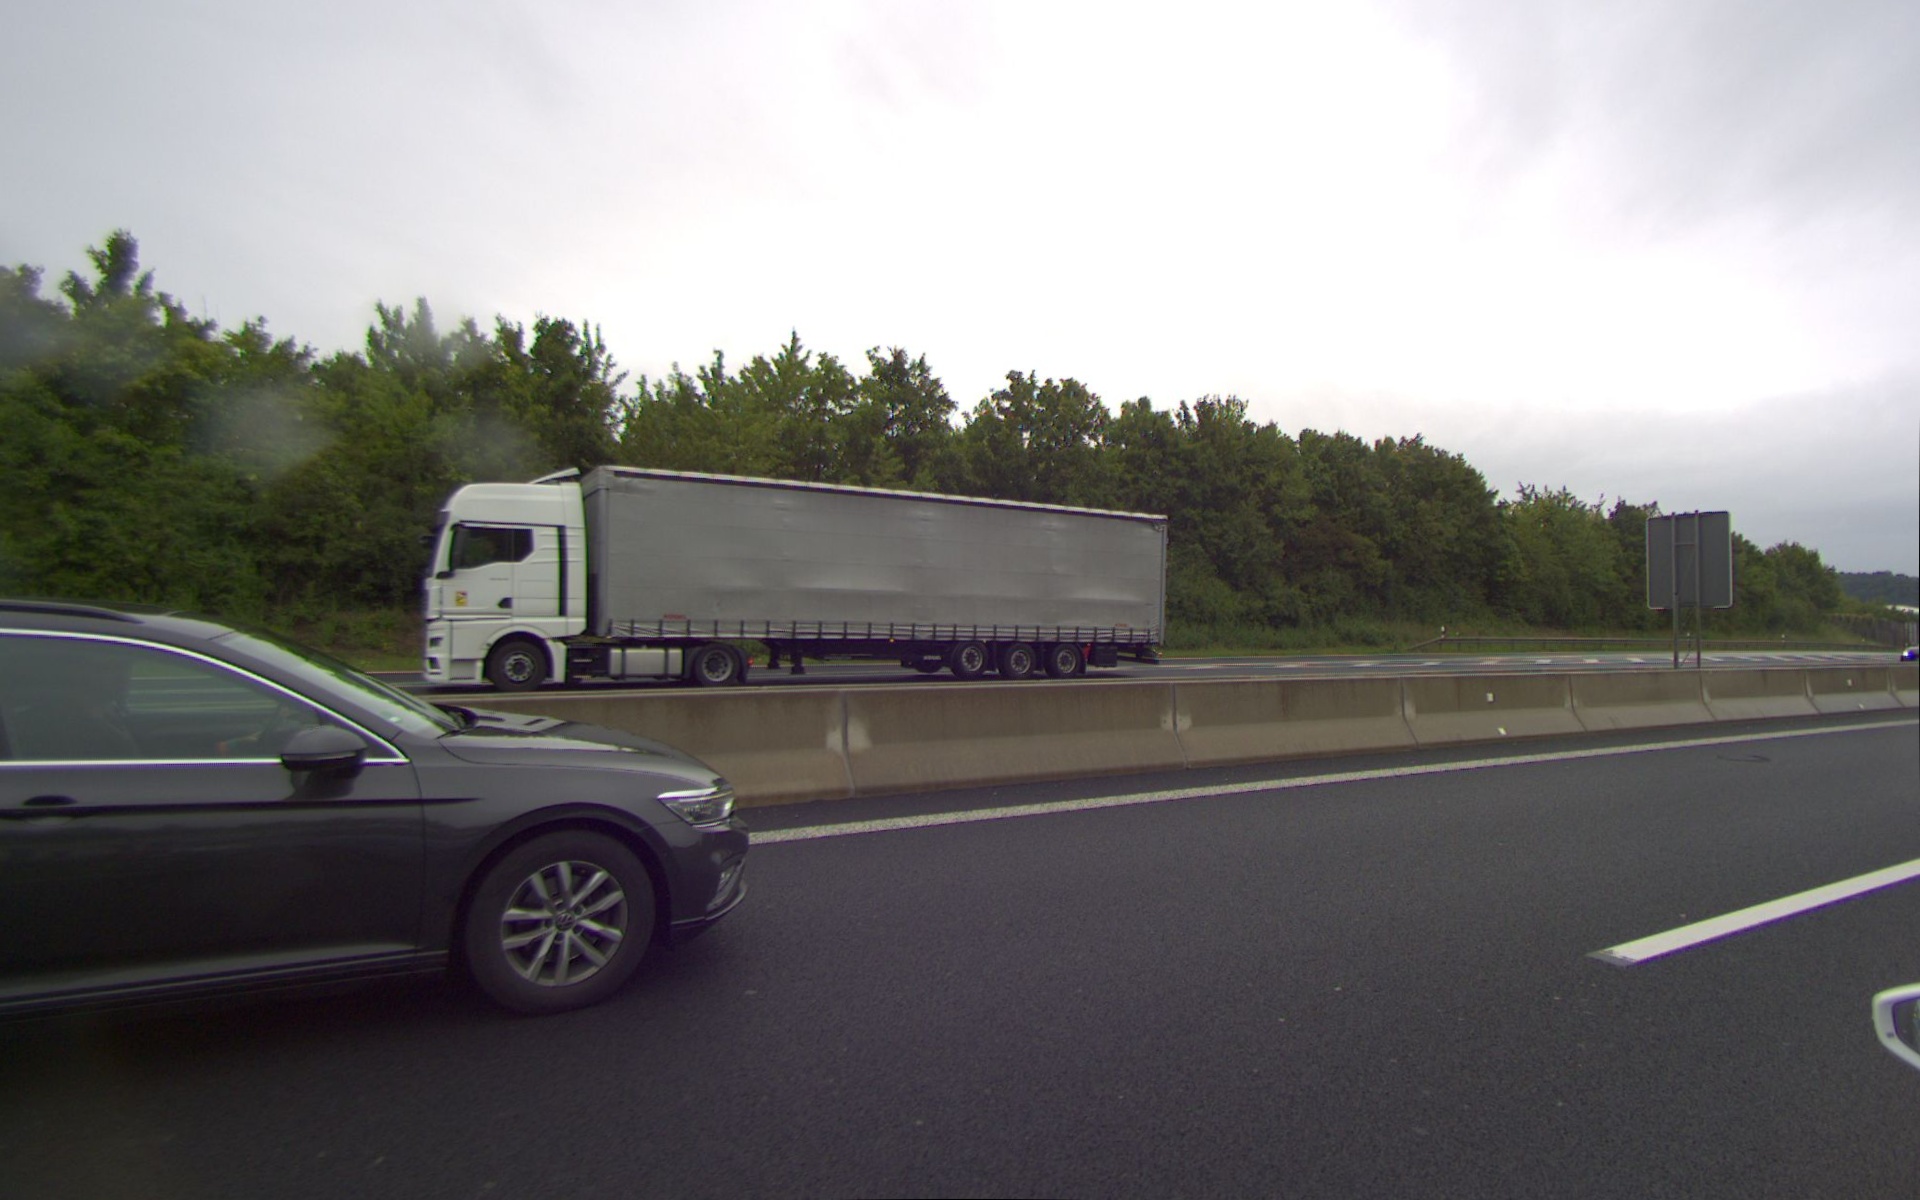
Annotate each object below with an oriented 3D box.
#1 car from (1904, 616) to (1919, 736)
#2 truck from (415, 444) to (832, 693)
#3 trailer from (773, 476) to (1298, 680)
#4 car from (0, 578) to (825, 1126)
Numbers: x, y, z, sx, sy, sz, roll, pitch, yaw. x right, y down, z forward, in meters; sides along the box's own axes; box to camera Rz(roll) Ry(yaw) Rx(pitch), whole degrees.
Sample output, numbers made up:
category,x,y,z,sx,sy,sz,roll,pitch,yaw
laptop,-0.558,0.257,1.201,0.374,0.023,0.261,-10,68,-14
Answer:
category,x,y,z,sx,sy,sz,roll,pitch,yaw
car,15.609,1.103,14.363,4.449,1.661,1.966,2,-1,-31
truck,-6.587,-0.439,19.951,7.352,4.138,3.245,1,-1,-30
trailer,2.418,-0.301,25.175,13.680,4.138,3.245,1,-1,-30
car,-3.081,0.705,3.632,4.795,1.517,1.891,1,-1,-31
